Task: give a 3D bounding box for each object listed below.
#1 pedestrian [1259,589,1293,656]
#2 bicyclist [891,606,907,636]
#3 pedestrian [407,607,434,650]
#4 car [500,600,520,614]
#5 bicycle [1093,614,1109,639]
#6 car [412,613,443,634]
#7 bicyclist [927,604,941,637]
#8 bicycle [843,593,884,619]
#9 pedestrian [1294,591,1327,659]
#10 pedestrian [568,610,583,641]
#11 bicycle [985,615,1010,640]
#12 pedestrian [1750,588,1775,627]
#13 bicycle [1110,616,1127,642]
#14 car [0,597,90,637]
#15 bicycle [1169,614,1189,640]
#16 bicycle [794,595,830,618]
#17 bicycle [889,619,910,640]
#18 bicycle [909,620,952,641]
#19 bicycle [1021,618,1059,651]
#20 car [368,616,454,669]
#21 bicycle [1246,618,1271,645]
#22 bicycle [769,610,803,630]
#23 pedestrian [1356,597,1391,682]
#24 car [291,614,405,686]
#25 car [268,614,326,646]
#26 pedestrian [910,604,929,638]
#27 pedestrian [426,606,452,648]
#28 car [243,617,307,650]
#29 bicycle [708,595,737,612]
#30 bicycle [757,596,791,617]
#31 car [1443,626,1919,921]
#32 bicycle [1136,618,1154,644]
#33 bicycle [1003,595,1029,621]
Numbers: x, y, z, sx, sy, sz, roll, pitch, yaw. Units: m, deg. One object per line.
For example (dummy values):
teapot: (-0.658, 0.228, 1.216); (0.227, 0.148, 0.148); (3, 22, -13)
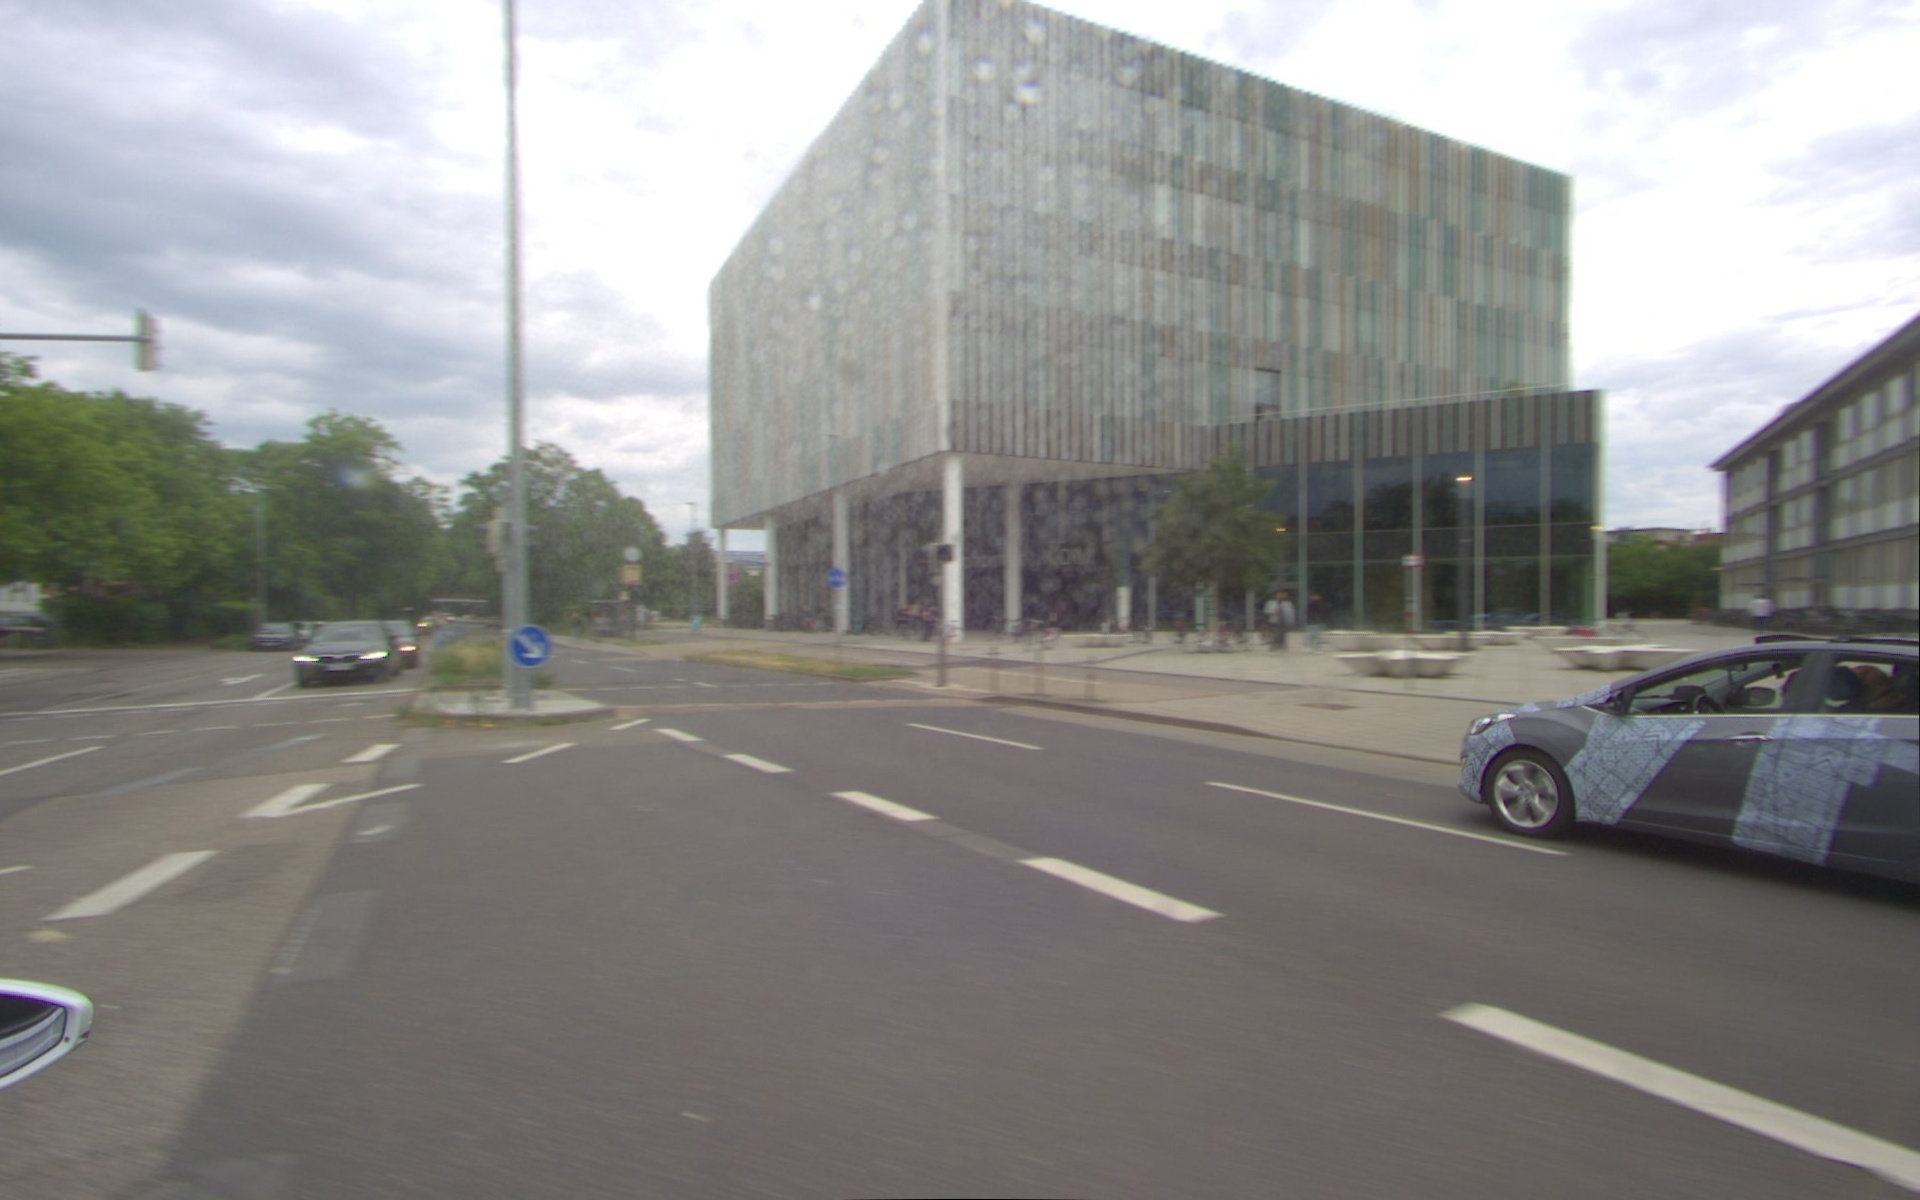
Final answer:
pedestrian: (8.700, 0.614, 27.532); (0.831, 1.812, 0.892); (0, 1, 21)
bicyclist: (-2.828, 0.977, 46.762); (0.608, 1.401, 0.717); (0, 0, -15)
pedestrian: (-23.260, 1.208, 43.157); (0.883, 1.812, 0.710); (0, 1, 39)
car: (-54.137, 0.827, 120.515); (1.791, 1.639, 3.978); (0, 0, -31)
bicycle: (5.685, 1.059, 40.387); (0.475, 0.948, 2.008); (0, 1, 13)
car: (-43.487, 1.872, 81.888); (1.968, 1.639, 4.179); (0, 0, -24)
bicyclist: (-1.184, 0.932, 45.294); (0.594, 1.488, 0.483); (0, 1, -10)
bicycle: (-5.126, 0.341, 53.451); (2.070, 1.275, 0.627); (2, -2, -23)
pedestrian: (9.601, 0.665, 27.406); (0.831, 1.812, 0.892); (0, 1, 21)
pedestrian: (-22.549, 1.493, 58.738); (0.796, 1.833, 0.586); (2, 0, -23)
bicycle: (1.717, 1.230, 45.261); (0.476, 1.059, 1.911); (0, 0, 24)
pedestrian: (37.340, 0.334, 46.584); (0.764, 1.813, 0.758); (0, 1, 29)
bicycle: (6.377, 1.158, 40.162); (0.538, 0.948, 2.008); (0, 1, 13)
car: (-42.296, 0.761, 45.554); (4.026, 1.776, 1.980); (-1, 1, -44)
bicycle: (8.516, 1.045, 38.945); (0.474, 0.948, 2.009); (-1, 1, 5)
bicycle: (-9.104, 0.414, 61.516); (2.074, 1.275, 0.625); (3, -2, -29)
bicycle: (-2.823, 1.375, 46.765); (0.608, 0.938, 1.913); (0, 0, -15)
bicycle: (-1.351, 1.381, 45.374); (1.880, 0.938, 0.605); (-1, 1, -11)
bicycle: (2.694, 1.138, 33.555); (0.477, 1.059, 1.773); (0, 0, 34)
car: (-16.778, 1.244, 30.782); (1.968, 1.472, 3.986); (0, 0, -24)
bicycle: (11.466, 1.201, 38.505); (0.474, 0.948, 2.009); (-1, 1, 5)
bicycle: (-11.235, 1.288, 64.758); (2.073, 1.275, 0.625); (0, 0, -29)
pedestrian: (8.358, 0.799, 20.259); (0.607, 1.688, 0.623); (0, 0, 18)
car: (-14.656, 1.122, 24.203); (1.969, 1.509, 4.273); (-2, 0, -27)
car: (-35.989, 1.592, 54.457); (1.968, 1.639, 3.985); (0, 0, -24)
pedestrian: (-2.210, 1.133, 54.623); (0.789, 1.812, 0.759); (-1, 2, -26)
pedestrian: (-22.873, 1.160, 43.930); (0.883, 1.812, 0.710); (0, 1, 39)
car: (-34.355, 1.651, 50.337); (1.968, 1.532, 3.985); (0, 0, -24)
bicycle: (-18.851, 0.270, 79.465); (2.074, 1.275, 0.625); (3, -2, -29)
bicycle: (-12.384, 0.443, 66.694); (2.074, 1.275, 0.625); (3, -2, -29)
car: (5.537, 0.957, 6.248); (1.970, 1.487, 4.209); (2, -1, -27)
bicycle: (7.257, 1.196, 39.353); (0.474, 0.948, 2.009); (-1, 1, 5)
bicycle: (2.368, 0.331, 42.261); (0.476, 1.059, 1.910); (0, 1, 24)
